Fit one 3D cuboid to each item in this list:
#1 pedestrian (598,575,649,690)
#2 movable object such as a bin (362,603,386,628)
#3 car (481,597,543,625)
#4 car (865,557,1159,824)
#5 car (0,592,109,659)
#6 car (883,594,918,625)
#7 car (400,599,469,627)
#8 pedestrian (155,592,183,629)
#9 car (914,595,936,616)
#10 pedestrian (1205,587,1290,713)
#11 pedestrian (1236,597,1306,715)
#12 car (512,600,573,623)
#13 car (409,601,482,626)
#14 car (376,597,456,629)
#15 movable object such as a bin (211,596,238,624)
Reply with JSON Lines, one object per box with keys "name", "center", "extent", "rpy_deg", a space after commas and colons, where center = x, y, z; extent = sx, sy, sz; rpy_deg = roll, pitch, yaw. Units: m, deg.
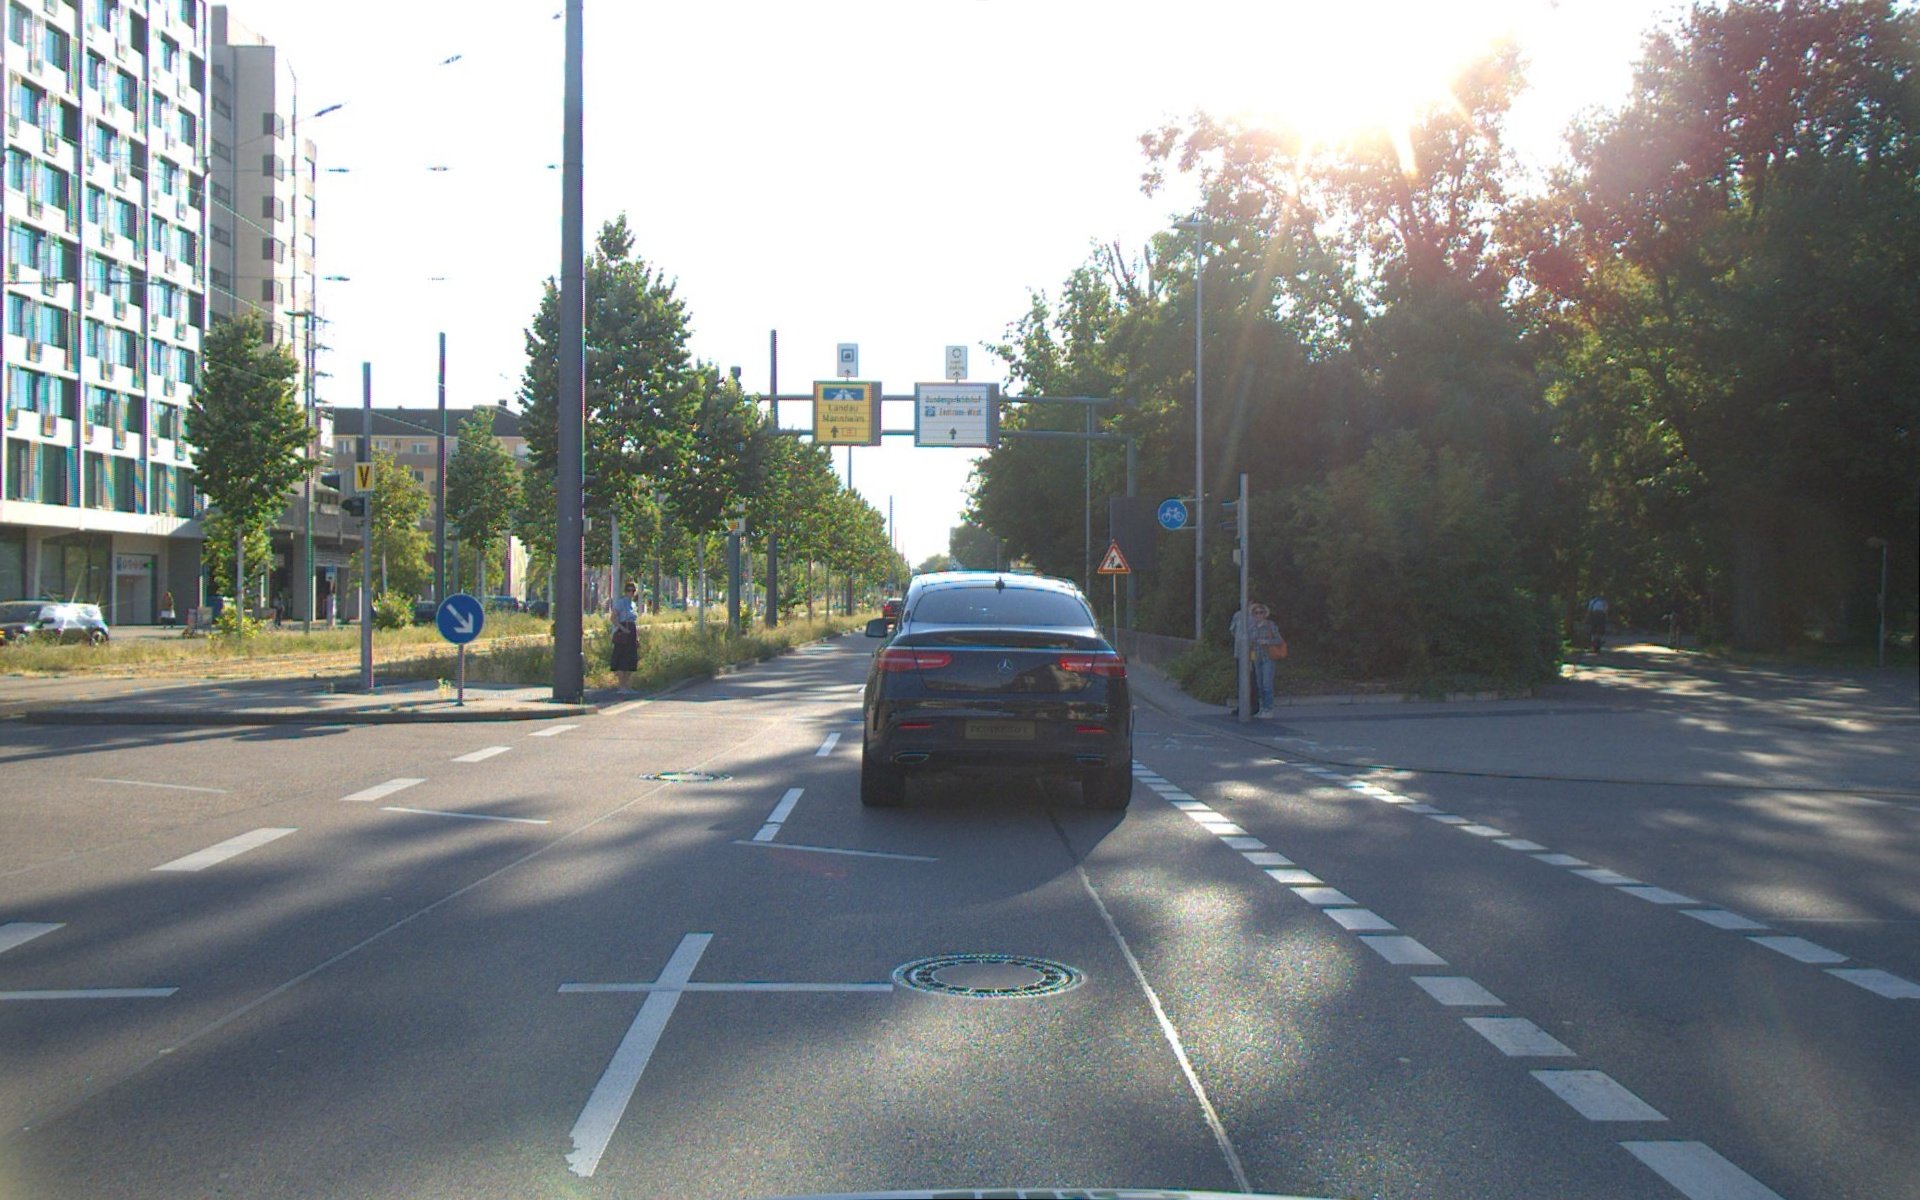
{"name": "pedestrian", "center": [-5.139, 0.491, 25.283], "extent": [0.586, 1.729, 0.714], "rpy_deg": [0, 0, 5]}
{"name": "movable object such as a bin", "center": [-32.011, 0.833, 90.391], "extent": [0.839, 1.381, 0.940], "rpy_deg": [0, 0, 14]}
{"name": "car", "center": [-30.782, 0.775, 113.740], "extent": [3.724, 1.861, 1.798], "rpy_deg": [2, 0, -41]}
{"name": "car", "center": [0.254, 0.607, 13.124], "extent": [1.954, 1.765, 3.998], "rpy_deg": [1, 0, -3]}
{"name": "car", "center": [-20.448, 0.518, 35.558], "extent": [1.852, 1.367, 4.849], "rpy_deg": [0, 0, -1]}
{"name": "car", "center": [-3.287, 0.505, 91.974], "extent": [1.847, 1.608, 3.999], "rpy_deg": [1, 1, -1]}
{"name": "car", "center": [-31.622, 0.782, 99.527], "extent": [3.594, 1.550, 1.596], "rpy_deg": [3, -1, -42]}
{"name": "pedestrian", "center": [-36.270, 0.474, 75.857], "extent": [0.826, 1.682, 0.970], "rpy_deg": [0, 0, 1]}
{"name": "car", "center": [-2.966, 0.449, 140.168], "extent": [1.847, 1.608, 3.999], "rpy_deg": [1, 1, -1]}
{"name": "pedestrian", "center": [4.328, 0.736, 24.909], "extent": [0.849, 1.834, 0.896], "rpy_deg": [-2, 0, -35]}
{"name": "pedestrian", "center": [4.532, 0.805, 24.143], "extent": [0.752, 1.665, 0.768], "rpy_deg": [-2, 0, -10]}
{"name": "car", "center": [-31.042, 0.837, 122.966], "extent": [3.967, 1.590, 1.969], "rpy_deg": [2, 0, -43]}
{"name": "car", "center": [-31.827, 0.844, 102.378], "extent": [1.754, 1.478, 3.977], "rpy_deg": [1, 0, 41]}
{"name": "car", "center": [-31.558, 0.762, 96.024], "extent": [4.060, 1.629, 1.724], "rpy_deg": [3, 0, -42]}
{"name": "movable object such as a bin", "center": [-38.140, 0.524, 85.776], "extent": [0.784, 1.465, 1.403], "rpy_deg": [0, 0, 0]}
